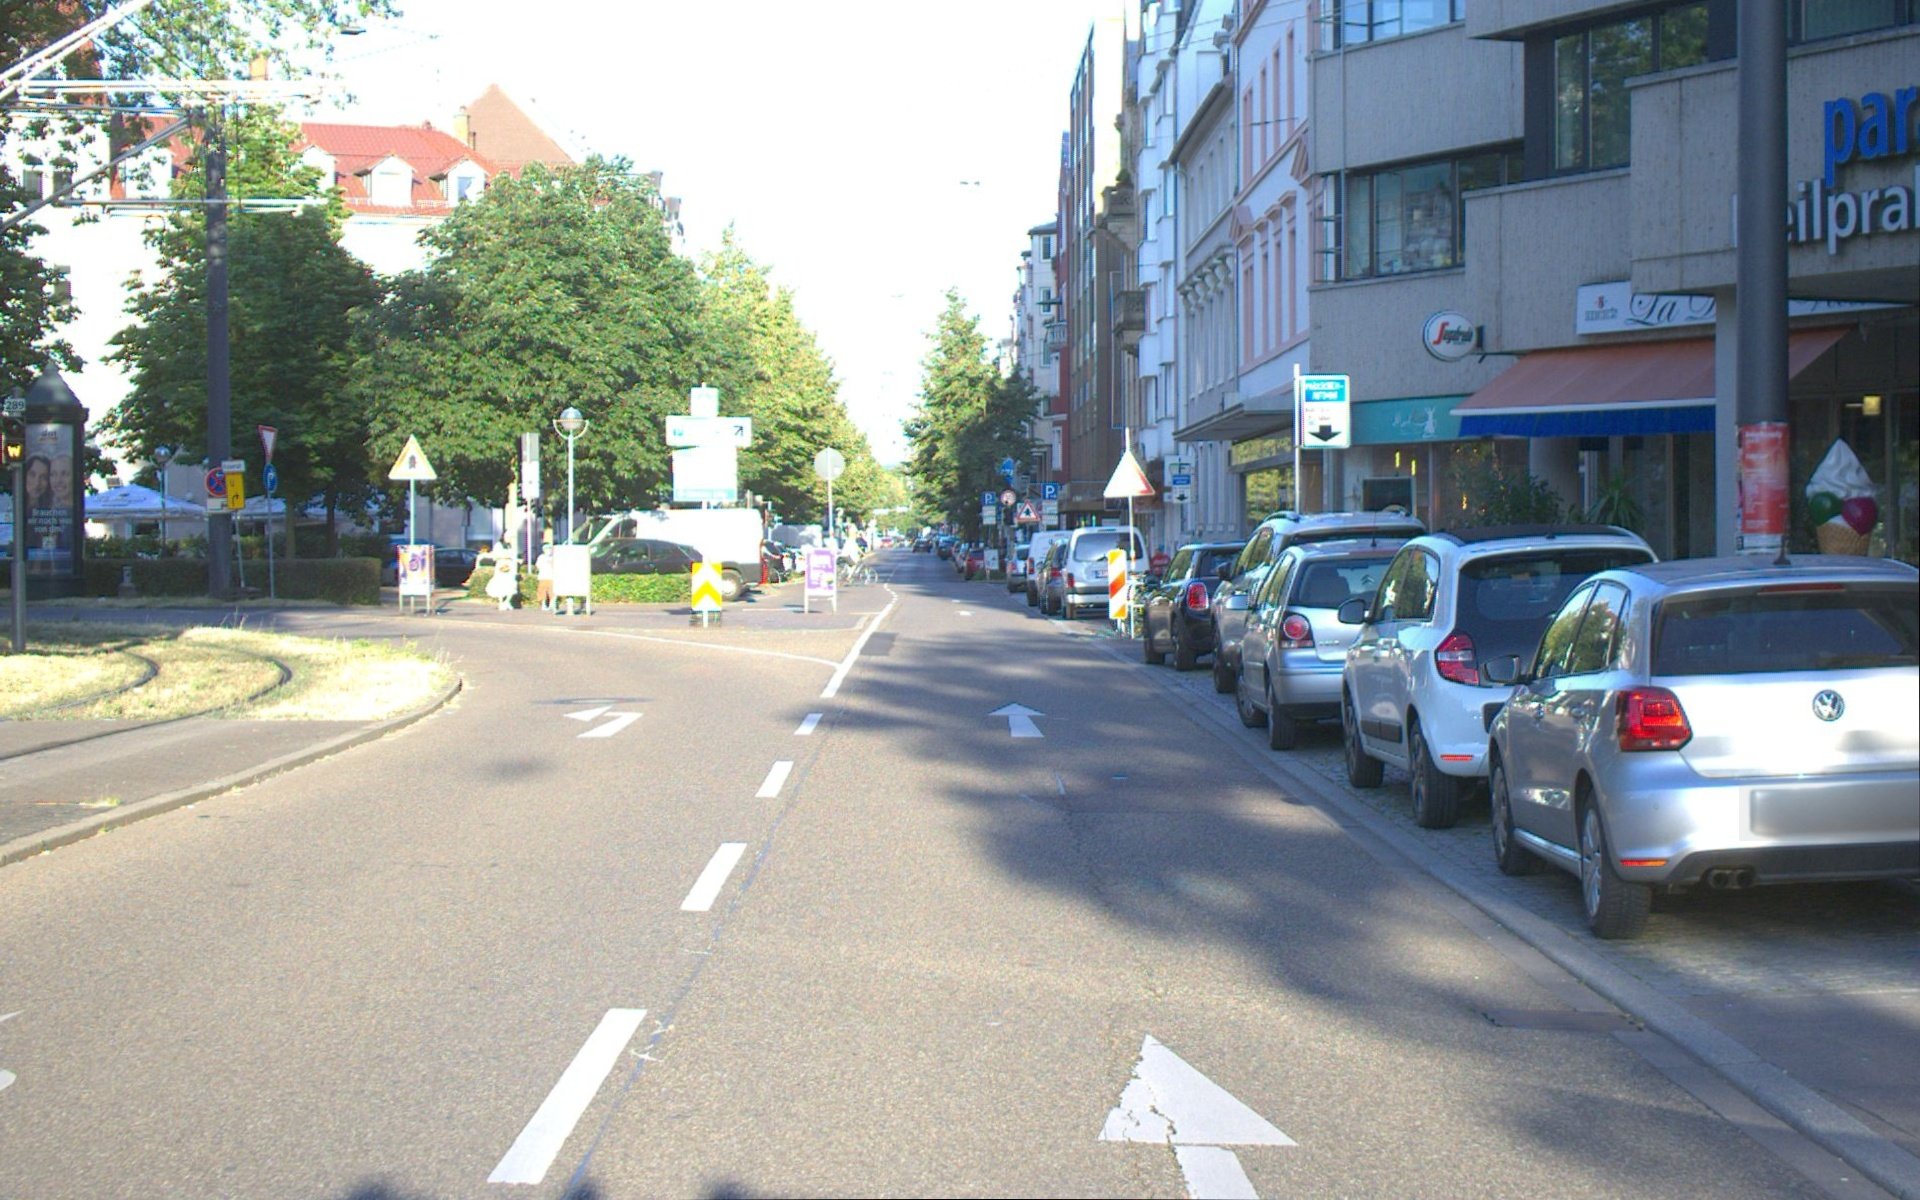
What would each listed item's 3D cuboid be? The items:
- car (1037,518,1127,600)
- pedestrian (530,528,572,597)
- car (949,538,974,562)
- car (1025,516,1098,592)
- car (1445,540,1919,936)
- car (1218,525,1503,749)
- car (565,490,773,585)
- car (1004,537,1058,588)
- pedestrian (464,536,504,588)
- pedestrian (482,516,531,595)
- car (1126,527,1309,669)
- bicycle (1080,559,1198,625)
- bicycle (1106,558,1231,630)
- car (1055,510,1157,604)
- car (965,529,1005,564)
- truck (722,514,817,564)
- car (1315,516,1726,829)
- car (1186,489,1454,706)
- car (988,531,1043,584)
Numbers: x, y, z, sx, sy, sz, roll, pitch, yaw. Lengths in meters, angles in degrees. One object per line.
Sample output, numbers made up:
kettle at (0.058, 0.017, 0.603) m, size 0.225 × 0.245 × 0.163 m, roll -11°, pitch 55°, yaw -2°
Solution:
car at (2.563, -0.885, 73.012) m, size 1.656 × 1.659 × 4.108 m, roll 1°, pitch 1°, yaw -1°
pedestrian at (-8.124, -0.743, 68.312) m, size 0.562 × 1.359 × 0.614 m, roll 0°, pitch 1°, yaw -37°
car at (0.092, -2.759, 190.855) m, size 1.206 × 1.296 × 2.661 m, roll 1°, pitch 0°, yaw -3°
car at (2.510, -1.166, 85.826) m, size 1.710 × 1.828 × 4.306 m, roll 1°, pitch 1°, yaw 0°
car at (3.203, 0.476, 14.602) m, size 1.785 × 1.451 × 4.000 m, roll 0°, pitch 1°, yaw 1°
car at (2.922, 0.213, 25.812) m, size 1.641 × 1.523 × 4.000 m, roll 1°, pitch 1°, yaw 0°
car at (-7.211, -1.530, 85.153) m, size 4.597 × 2.243 × 2.203 m, roll 1°, pitch 1°, yaw -27°
car at (2.332, -1.226, 111.897) m, size 1.680 × 1.556 × 4.000 m, roll -1°, pitch 1°, yaw 2°
pedestrian at (-11.840, -0.945, 85.486) m, size 0.747 × 1.273 × 0.661 m, roll 0°, pitch 1°, yaw -38°
pedestrian at (-8.991, -0.879, 68.116) m, size 0.697 × 1.553 × 0.694 m, roll 0°, pitch 1°, yaw -37°
car at (2.885, -0.066, 39.180) m, size 1.790 × 1.502 × 3.921 m, roll 1°, pitch 1°, yaw 0°
bicycle at (2.911, -0.127, 55.846) m, size 1.790 × 0.986 × 0.541 m, roll -2°, pitch 3°, yaw 22°
bicycle at (3.149, -0.095, 51.920) m, size 1.788 × 0.986 × 0.542 m, roll -2°, pitch 2°, yaw 11°
car at (2.838, -0.848, 67.442) m, size 1.792 × 1.785 × 4.092 m, roll 0°, pitch 1°, yaw 0°
car at (1.139, -2.451, 158.981) m, size 1.576 × 1.537 × 3.397 m, roll -2°, pitch 0°, yaw -3°
truck at (-10.021, -3.213, 181.502) m, size 4.940 × 2.606 × 2.000 m, roll 0°, pitch 1°, yaw -1°
car at (3.083, 0.334, 19.577) m, size 1.584 × 1.585 × 3.668 m, roll 1°, pitch 1°, yaw -2°
car at (3.192, -0.072, 31.258) m, size 1.783 × 1.798 × 4.402 m, roll 1°, pitch 1°, yaw -2°
car at (1.875, -1.453, 116.964) m, size 1.696 × 1.763 × 4.000 m, roll 0°, pitch 1°, yaw -1°
